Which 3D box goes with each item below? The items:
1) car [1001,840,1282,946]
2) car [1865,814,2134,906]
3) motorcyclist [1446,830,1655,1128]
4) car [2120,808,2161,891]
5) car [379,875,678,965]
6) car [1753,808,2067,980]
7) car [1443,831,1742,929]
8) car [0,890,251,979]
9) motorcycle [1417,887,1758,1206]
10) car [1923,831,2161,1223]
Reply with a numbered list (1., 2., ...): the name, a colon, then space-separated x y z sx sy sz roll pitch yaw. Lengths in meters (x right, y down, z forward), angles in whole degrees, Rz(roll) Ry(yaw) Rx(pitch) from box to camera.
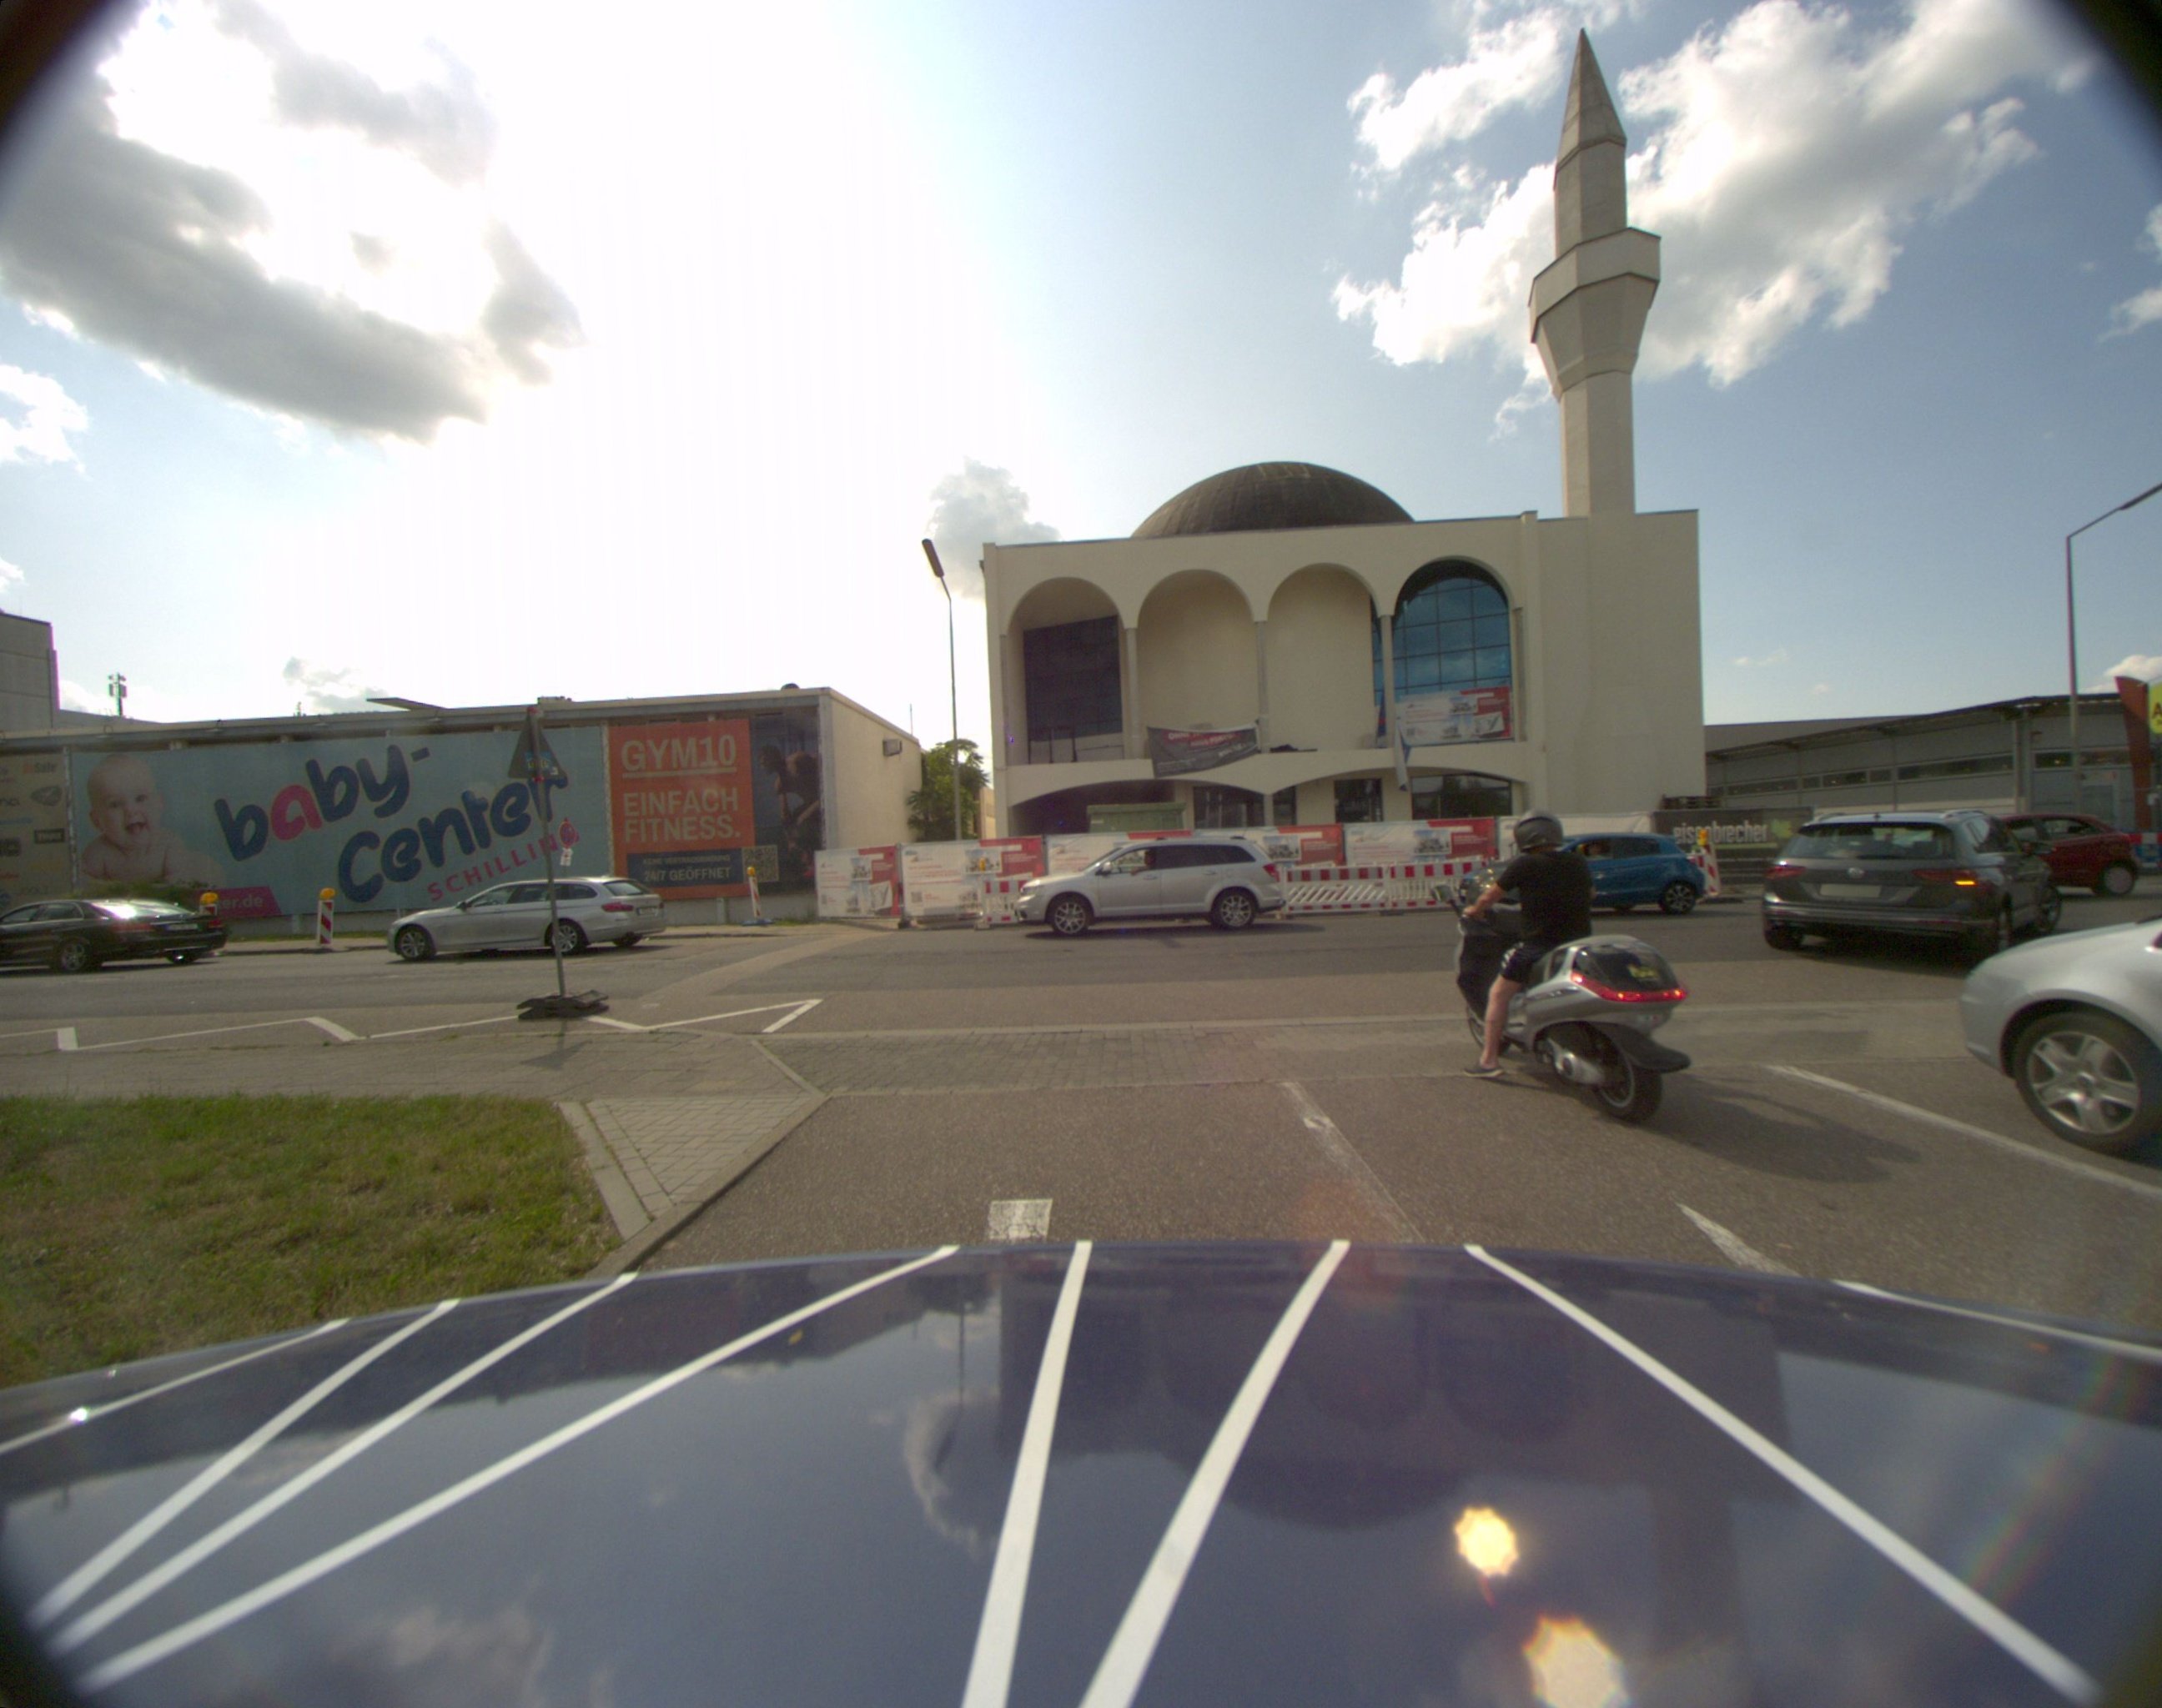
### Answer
1. car: 1.050 0.685 14.126 4.836 1.689 1.868 -2 -1 -1
2. car: 16.276 0.102 13.569 3.037 1.479 1.367 -2 1 3
3. motorcyclist: 2.732 0.690 4.502 0.788 1.619 0.686 -2 1 5
4. car: 21.557 -0.164 13.269 4.189 1.501 1.792 -2 1 3
5. car: -10.662 1.246 14.863 4.612 1.471 1.771 -2 0 4
6. car: 10.143 0.397 9.220 4.393 1.655 1.766 -1 -2 -32
7. car: 9.071 0.444 13.750 4.192 1.505 1.697 -2 1 2
8. car: -20.250 1.629 15.563 4.551 1.491 1.854 -2 1 3
9. motorcycle: 2.740 0.913 4.486 0.671 1.298 2.213 -2 1 5
10. car: 5.065 0.689 1.800 1.721 1.555 4.211 -2 0 6
